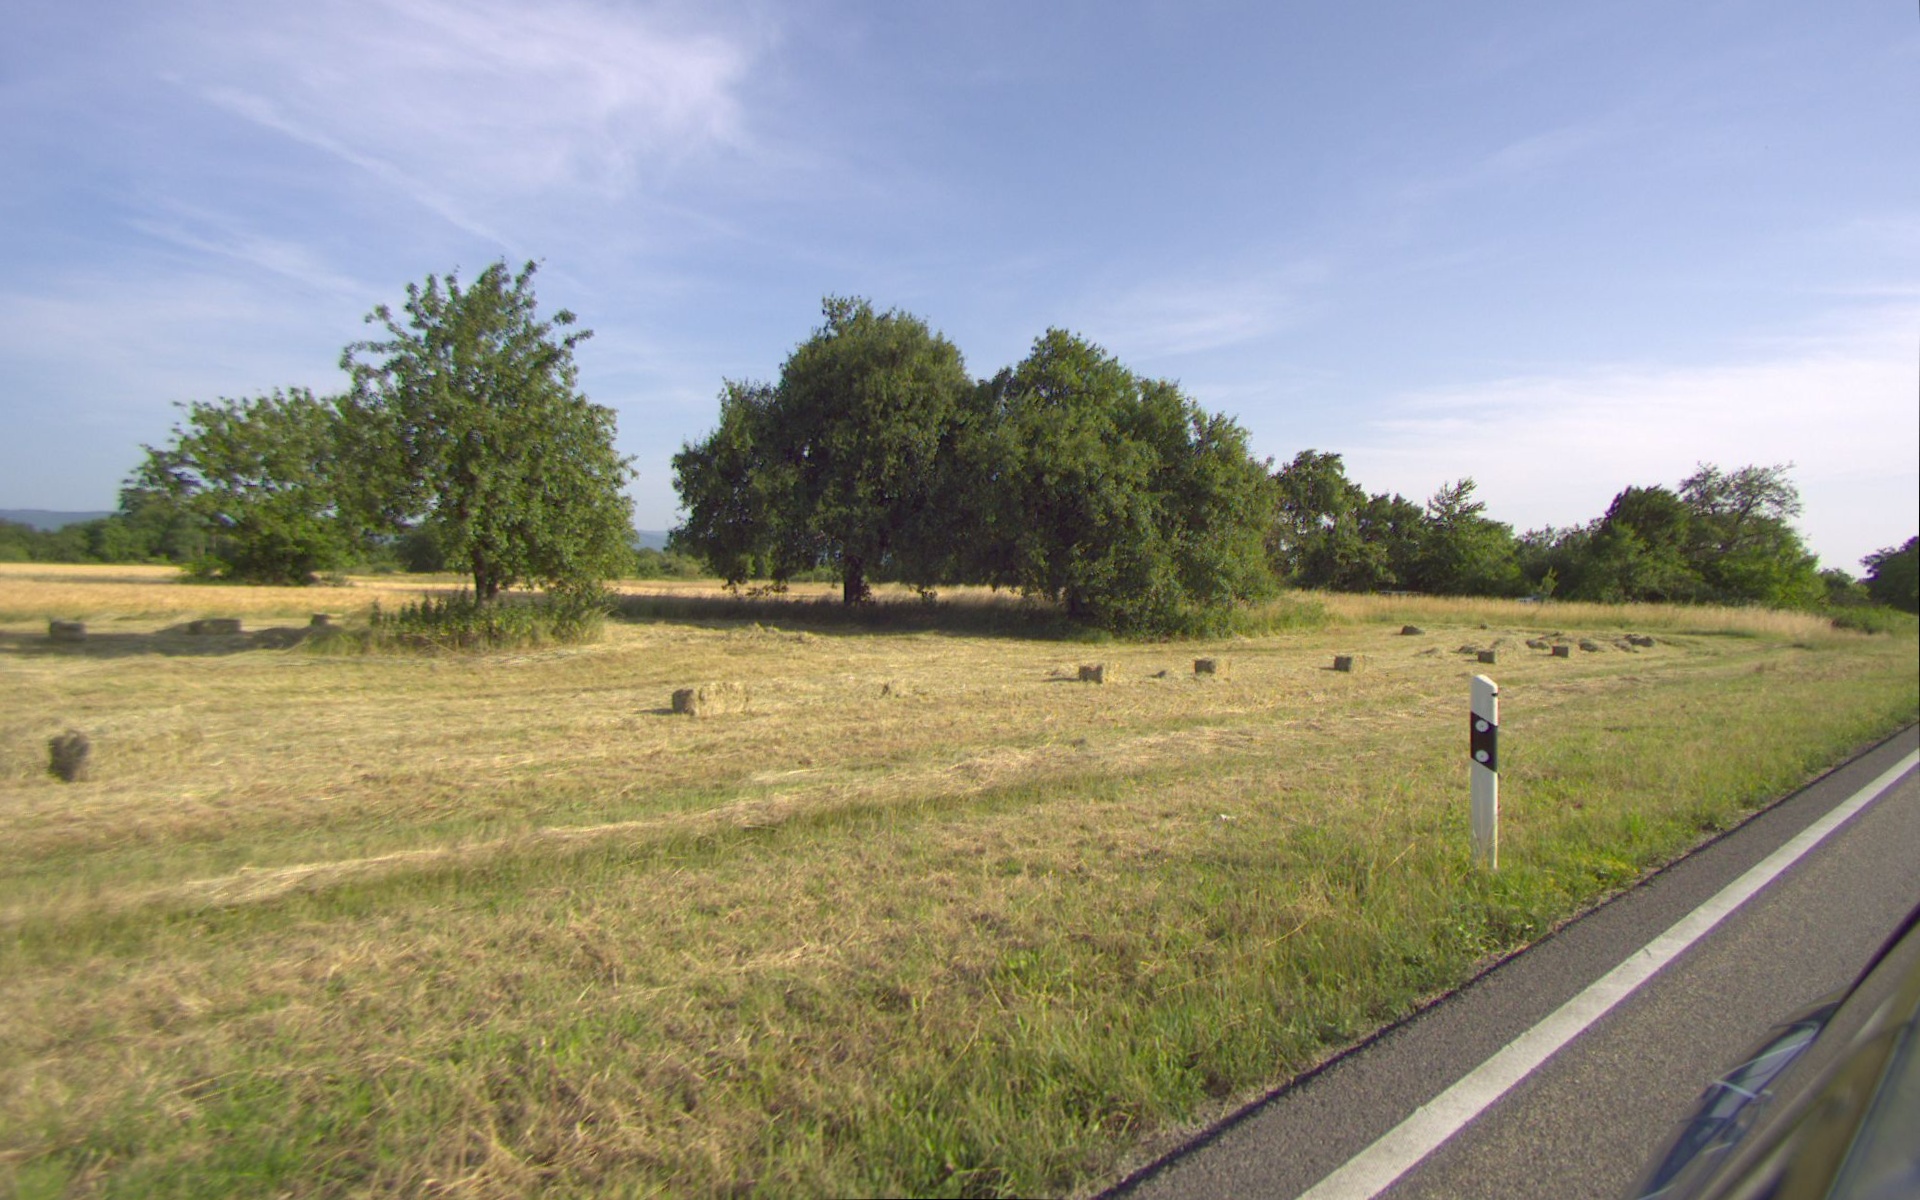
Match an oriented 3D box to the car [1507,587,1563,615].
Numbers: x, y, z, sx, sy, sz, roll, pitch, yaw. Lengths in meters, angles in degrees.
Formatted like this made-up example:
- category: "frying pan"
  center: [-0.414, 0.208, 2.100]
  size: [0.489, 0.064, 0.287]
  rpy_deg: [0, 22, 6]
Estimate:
- category: "car"
  center: [37.163, 0.053, 65.376]
  size: [3.930, 1.772, 1.997]
  rpy_deg: [0, 0, -41]
